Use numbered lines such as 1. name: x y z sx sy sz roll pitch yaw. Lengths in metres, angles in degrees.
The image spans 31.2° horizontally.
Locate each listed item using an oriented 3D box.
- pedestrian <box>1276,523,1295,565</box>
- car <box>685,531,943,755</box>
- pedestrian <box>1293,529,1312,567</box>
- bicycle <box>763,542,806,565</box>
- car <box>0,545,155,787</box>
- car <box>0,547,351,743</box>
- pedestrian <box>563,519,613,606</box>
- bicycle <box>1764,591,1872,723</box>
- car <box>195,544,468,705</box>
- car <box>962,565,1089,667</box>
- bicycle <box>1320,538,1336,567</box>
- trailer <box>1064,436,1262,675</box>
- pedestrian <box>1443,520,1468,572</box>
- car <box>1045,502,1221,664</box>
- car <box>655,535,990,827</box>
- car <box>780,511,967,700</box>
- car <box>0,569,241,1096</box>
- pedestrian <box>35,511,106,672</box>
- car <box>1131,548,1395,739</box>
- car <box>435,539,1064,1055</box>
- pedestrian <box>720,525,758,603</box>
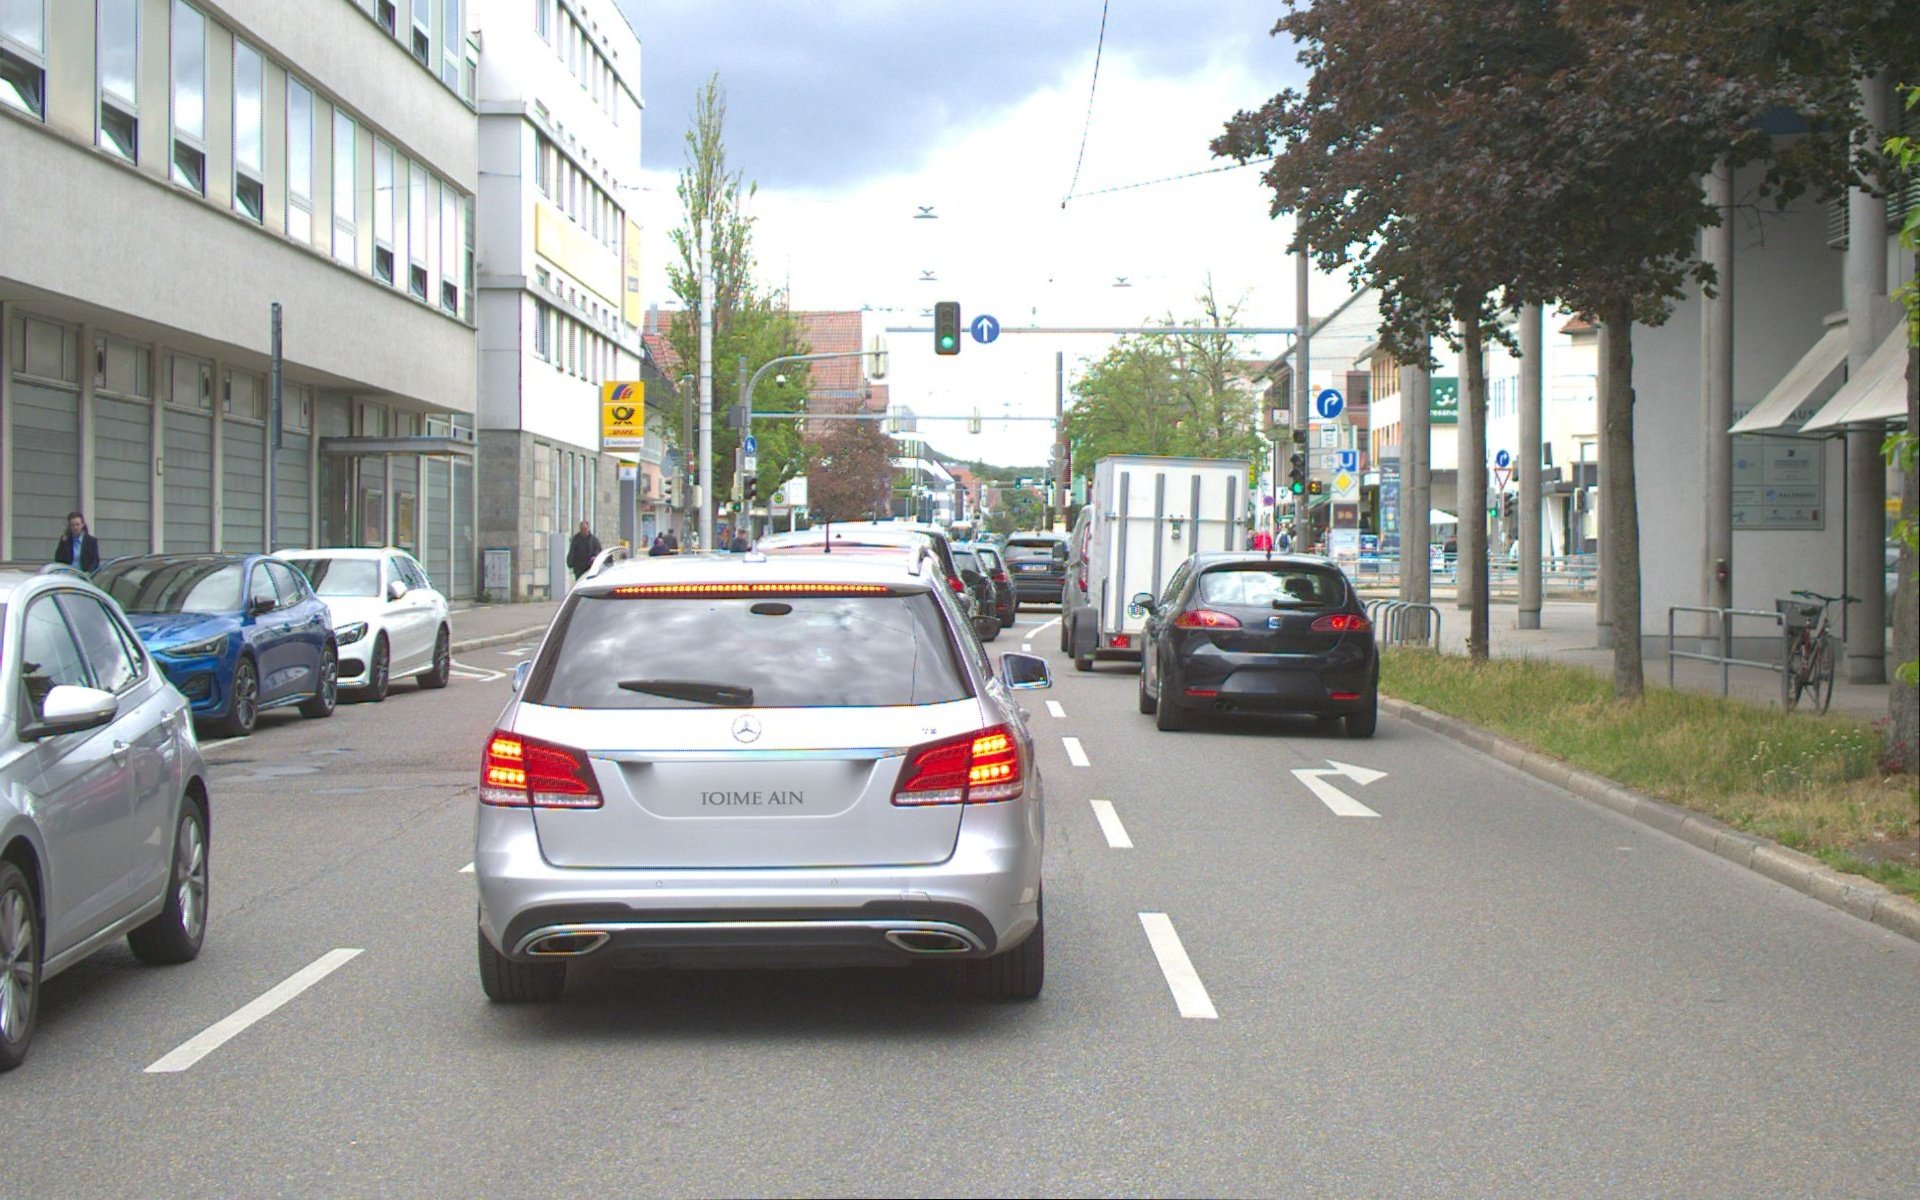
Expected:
1. pedestrian: 12.738 -2.197 134.671 0.578 1.661 0.651 1 1 -6
2. car: -1.032 0.249 25.206 1.734 1.503 4.000 0 1 -1
3. pedestrian: 13.132 -1.992 131.871 0.578 1.464 0.651 1 1 -7
4. bicycle: -8.150 -2.163 159.412 1.937 1.025 0.530 1 1 -8
5. car: -6.532 0.382 22.406 1.716 1.420 3.871 -1 1 -1
6. car: -6.391 0.311 28.273 1.815 1.421 4.264 -1 1 2
7. pedestrian: -7.461 -0.752 68.983 0.861 1.712 1.032 2 1 -1
8. bicycle: 7.480 0.480 30.040 0.361 1.083 2.028 1 1 -1
9. car: -6.170 0.193 34.218 1.670 1.429 4.552 -1 1 2
10. car: 0.949 0.218 51.805 1.734 1.406 4.001 0 2 -1
11. bicycle: 14.288 -1.838 133.565 0.448 1.103 2.149 0 1 2
12. trailer: 2.346 -0.544 40.727 1.877 2.604 4.323 3 1 -1
13. pedestrian: 16.170 -1.767 112.281 0.648 1.712 0.704 0 1 23
14. car: 2.222 -0.260 45.343 1.877 1.939 4.907 3 1 -1
15. car: -0.765 0.386 19.914 1.734 1.503 4.000 0 1 -1
16. car: -0.845 0.009 33.893 1.734 1.753 4.000 0 1 -1
17. car: -3.602 0.657 11.016 1.799 1.413 4.000 -2 1 -1
18. pedestrian: -9.519 -0.098 36.803 0.589 1.712 0.650 0 1 -1
19. car: 2.421 0.303 28.351 1.734 1.406 4.001 0 2 -1
20. car: -0.665 0.544 12.203 1.845 1.503 4.171 0 1 -1
21. pedestrian: -4.913 -0.796 76.468 0.648 1.712 0.782 2 1 8
